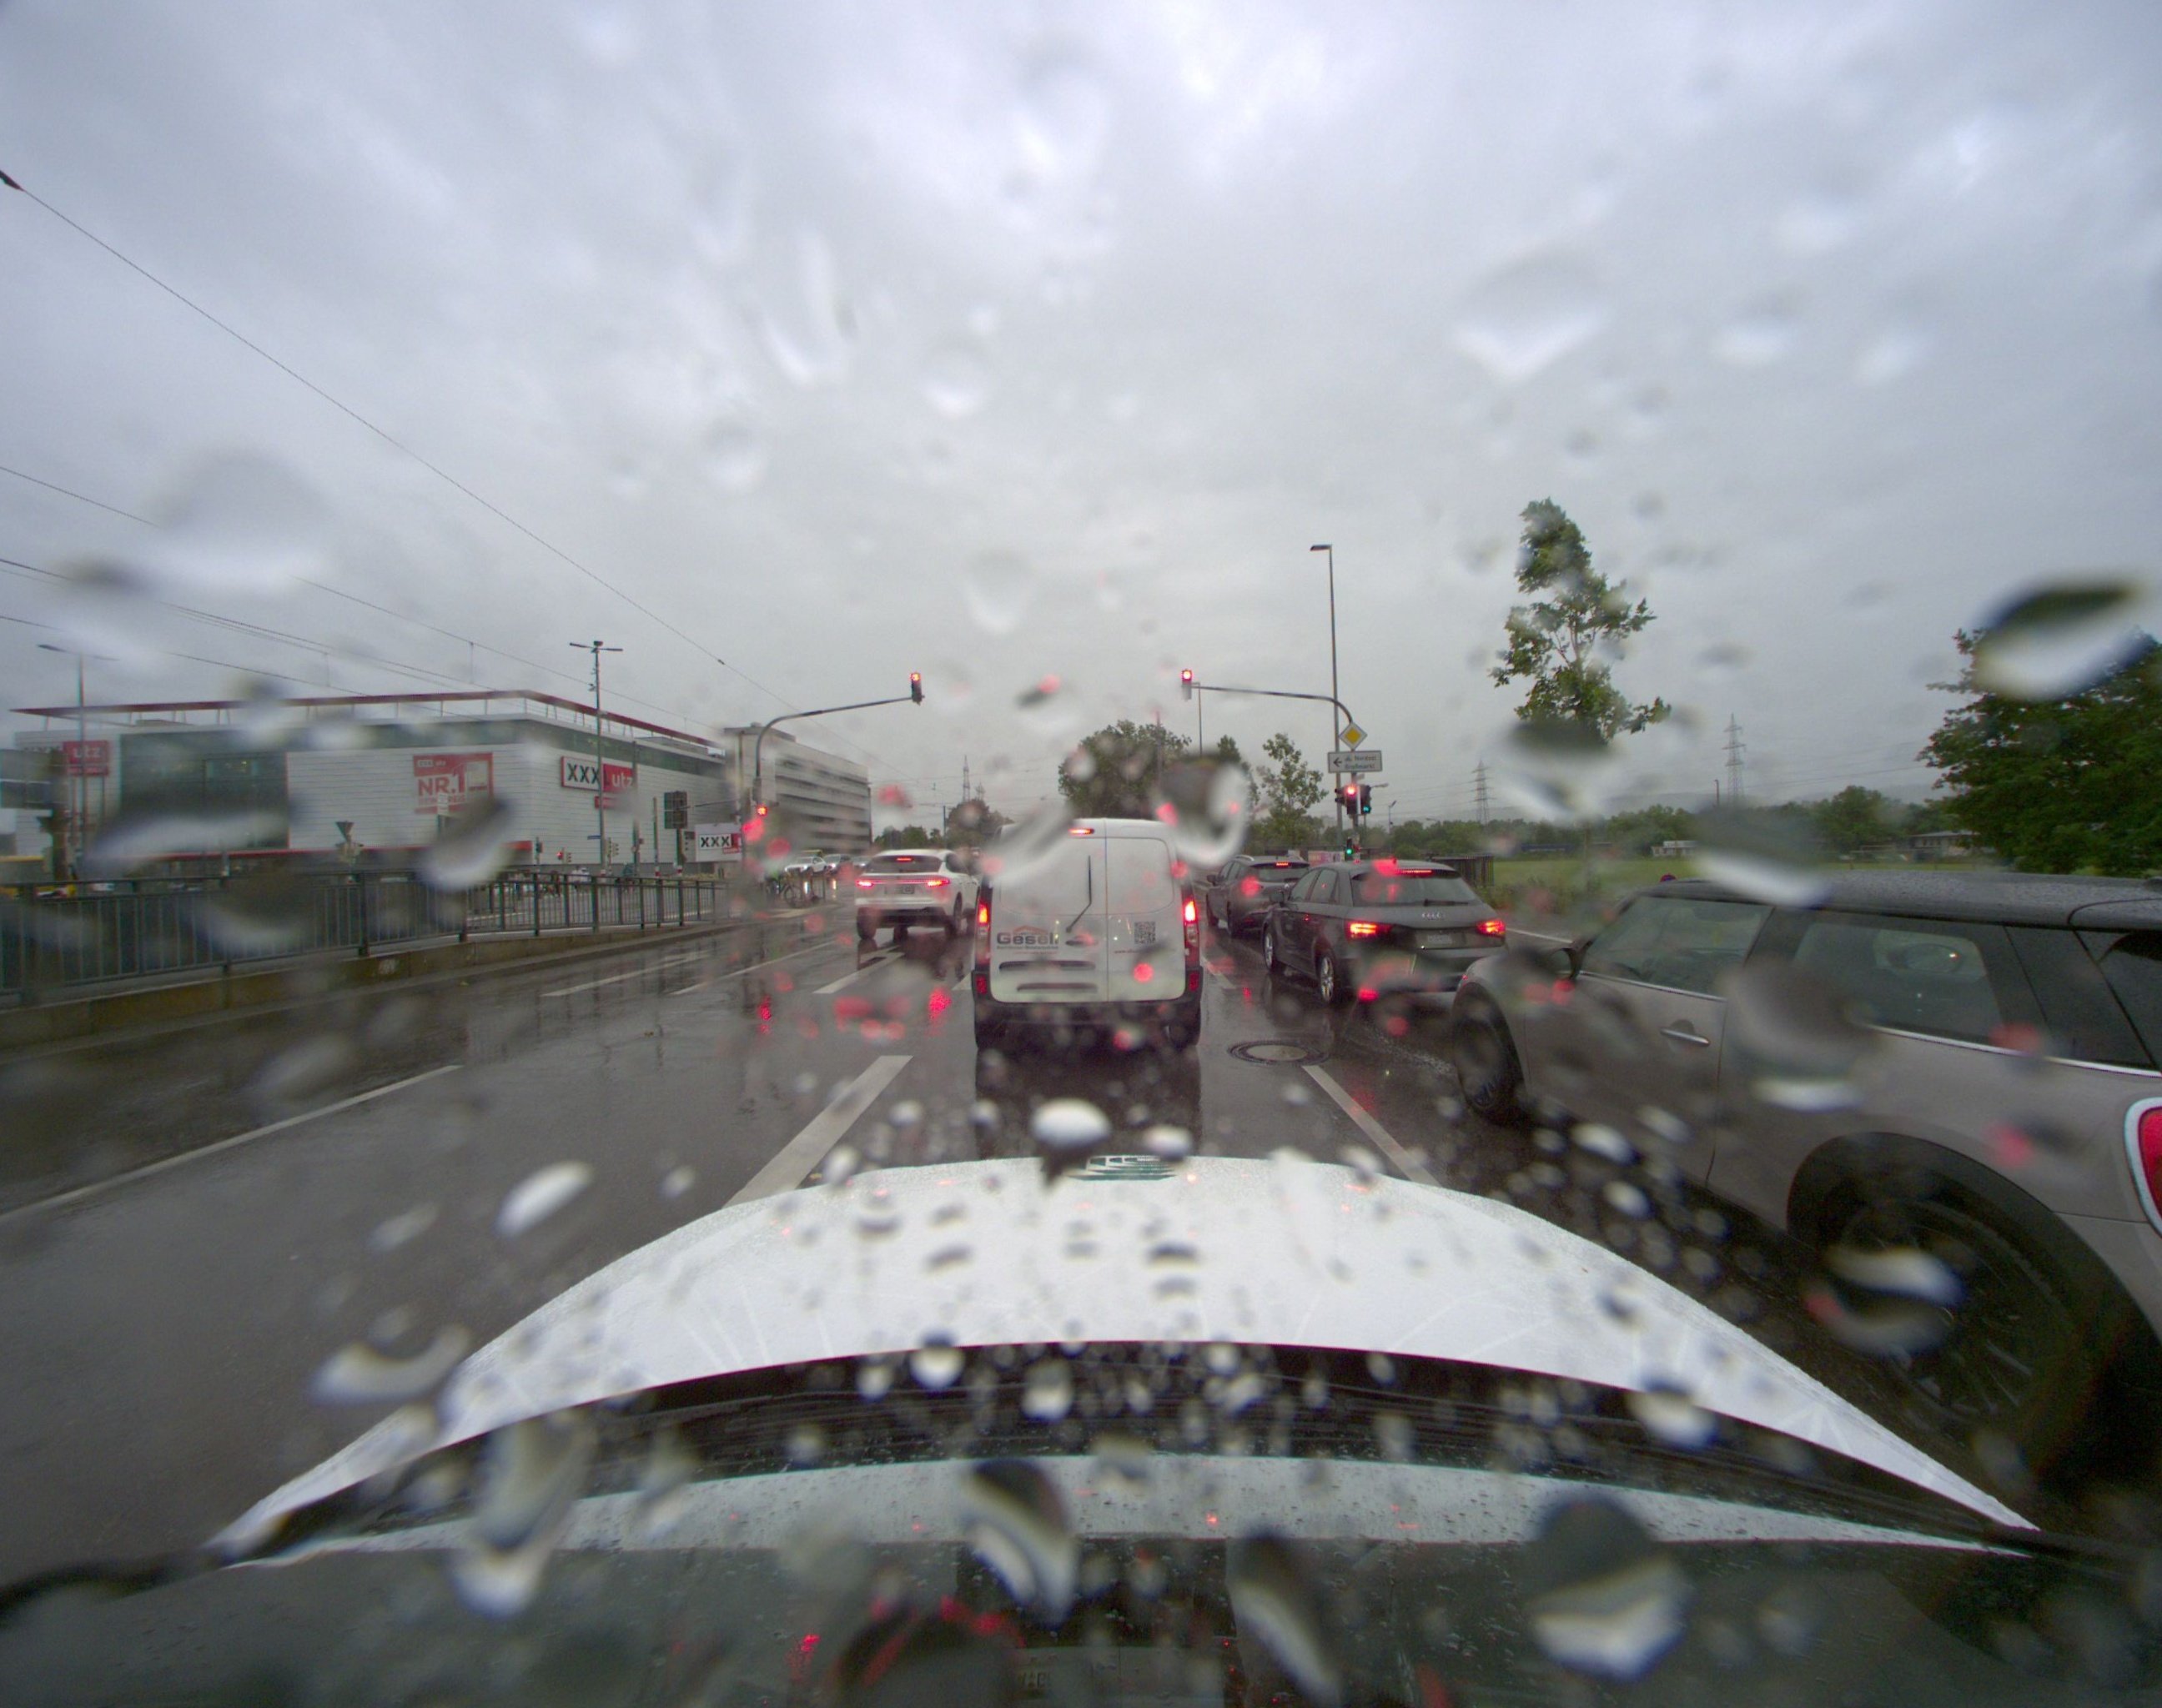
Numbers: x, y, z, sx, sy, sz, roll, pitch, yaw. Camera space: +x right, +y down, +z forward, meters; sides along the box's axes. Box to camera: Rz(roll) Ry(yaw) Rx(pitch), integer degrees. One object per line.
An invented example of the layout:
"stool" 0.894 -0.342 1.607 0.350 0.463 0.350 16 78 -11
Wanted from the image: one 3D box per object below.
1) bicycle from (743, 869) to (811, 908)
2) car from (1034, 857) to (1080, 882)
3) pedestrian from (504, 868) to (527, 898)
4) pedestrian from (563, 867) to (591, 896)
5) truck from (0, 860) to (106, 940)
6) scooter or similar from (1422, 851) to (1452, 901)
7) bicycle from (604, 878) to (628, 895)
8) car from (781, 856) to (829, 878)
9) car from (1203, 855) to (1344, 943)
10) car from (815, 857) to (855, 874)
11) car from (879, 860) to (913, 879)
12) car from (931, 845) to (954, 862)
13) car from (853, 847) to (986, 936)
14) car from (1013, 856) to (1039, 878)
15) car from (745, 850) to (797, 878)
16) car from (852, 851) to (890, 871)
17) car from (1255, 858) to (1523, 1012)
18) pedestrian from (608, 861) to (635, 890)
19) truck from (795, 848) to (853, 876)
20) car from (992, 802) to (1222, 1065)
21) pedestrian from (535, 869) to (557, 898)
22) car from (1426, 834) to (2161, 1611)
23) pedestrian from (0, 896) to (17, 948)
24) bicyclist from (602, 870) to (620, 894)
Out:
"bicycle" -8.863 0.997 23.766 1.745 1.034 0.414 2 -1 0
"car" -1.384 0.881 48.471 1.493 1.422 3.884 -1 -1 18
"pedestrian" -31.407 1.628 45.254 0.701 1.632 0.918 0 -1 -10
"pedestrian" -29.239 1.593 47.286 1.013 1.632 1.092 -1 -1 37
"truck" -40.756 1.656 29.705 7.100 2.816 2.640 -1 -1 -1
"scooter or similar" 8.482 0.518 19.413 0.244 1.158 1.187 0 -1 3
"bicycle" -28.278 1.980 49.568 0.448 0.987 1.709 0 -1 2
"car" -19.515 0.918 57.756 1.689 1.492 3.884 -1 -1 7
"car" 3.510 0.763 15.564 1.853 1.428 3.808 0 0 1
"car" -19.164 0.896 63.678 1.579 1.336 3.837 0 -1 6
"car" -17.664 1.455 78.022 1.919 1.827 4.007 0 -1 6
"car" -17.809 -0.049 104.734 1.985 2.014 4.003 0 -1 3
"car" -3.065 0.641 16.340 1.723 1.535 4.298 0 0 1
"car" -3.919 0.921 57.783 1.613 1.503 3.705 0 -1 -8
"car" -23.069 0.765 60.703 1.983 2.014 4.007 0 -1 6
"car" -18.274 0.629 70.969 1.883 1.699 4.006 0 -1 6
"car" 3.093 0.723 8.971 1.623 1.344 3.624 0 0 1
"pedestrian" -26.694 1.234 47.335 0.912 1.632 1.015 -1 -1 12
"truck" -22.349 0.669 71.277 2.342 2.279 7.637 0 0 2
"car" 0.245 0.561 7.628 1.560 1.788 4.002 -1 0 2
"pedestrian" -29.853 1.636 45.453 0.701 1.632 0.918 0 -1 -10
"car" 2.972 0.710 3.237 1.707 1.508 3.624 0 0 1
"pedestrian" -32.417 2.033 24.143 0.561 1.537 0.872 0 -1 1
"bicyclist" -28.622 1.688 49.625 0.681 1.464 0.647 0 -1 3
